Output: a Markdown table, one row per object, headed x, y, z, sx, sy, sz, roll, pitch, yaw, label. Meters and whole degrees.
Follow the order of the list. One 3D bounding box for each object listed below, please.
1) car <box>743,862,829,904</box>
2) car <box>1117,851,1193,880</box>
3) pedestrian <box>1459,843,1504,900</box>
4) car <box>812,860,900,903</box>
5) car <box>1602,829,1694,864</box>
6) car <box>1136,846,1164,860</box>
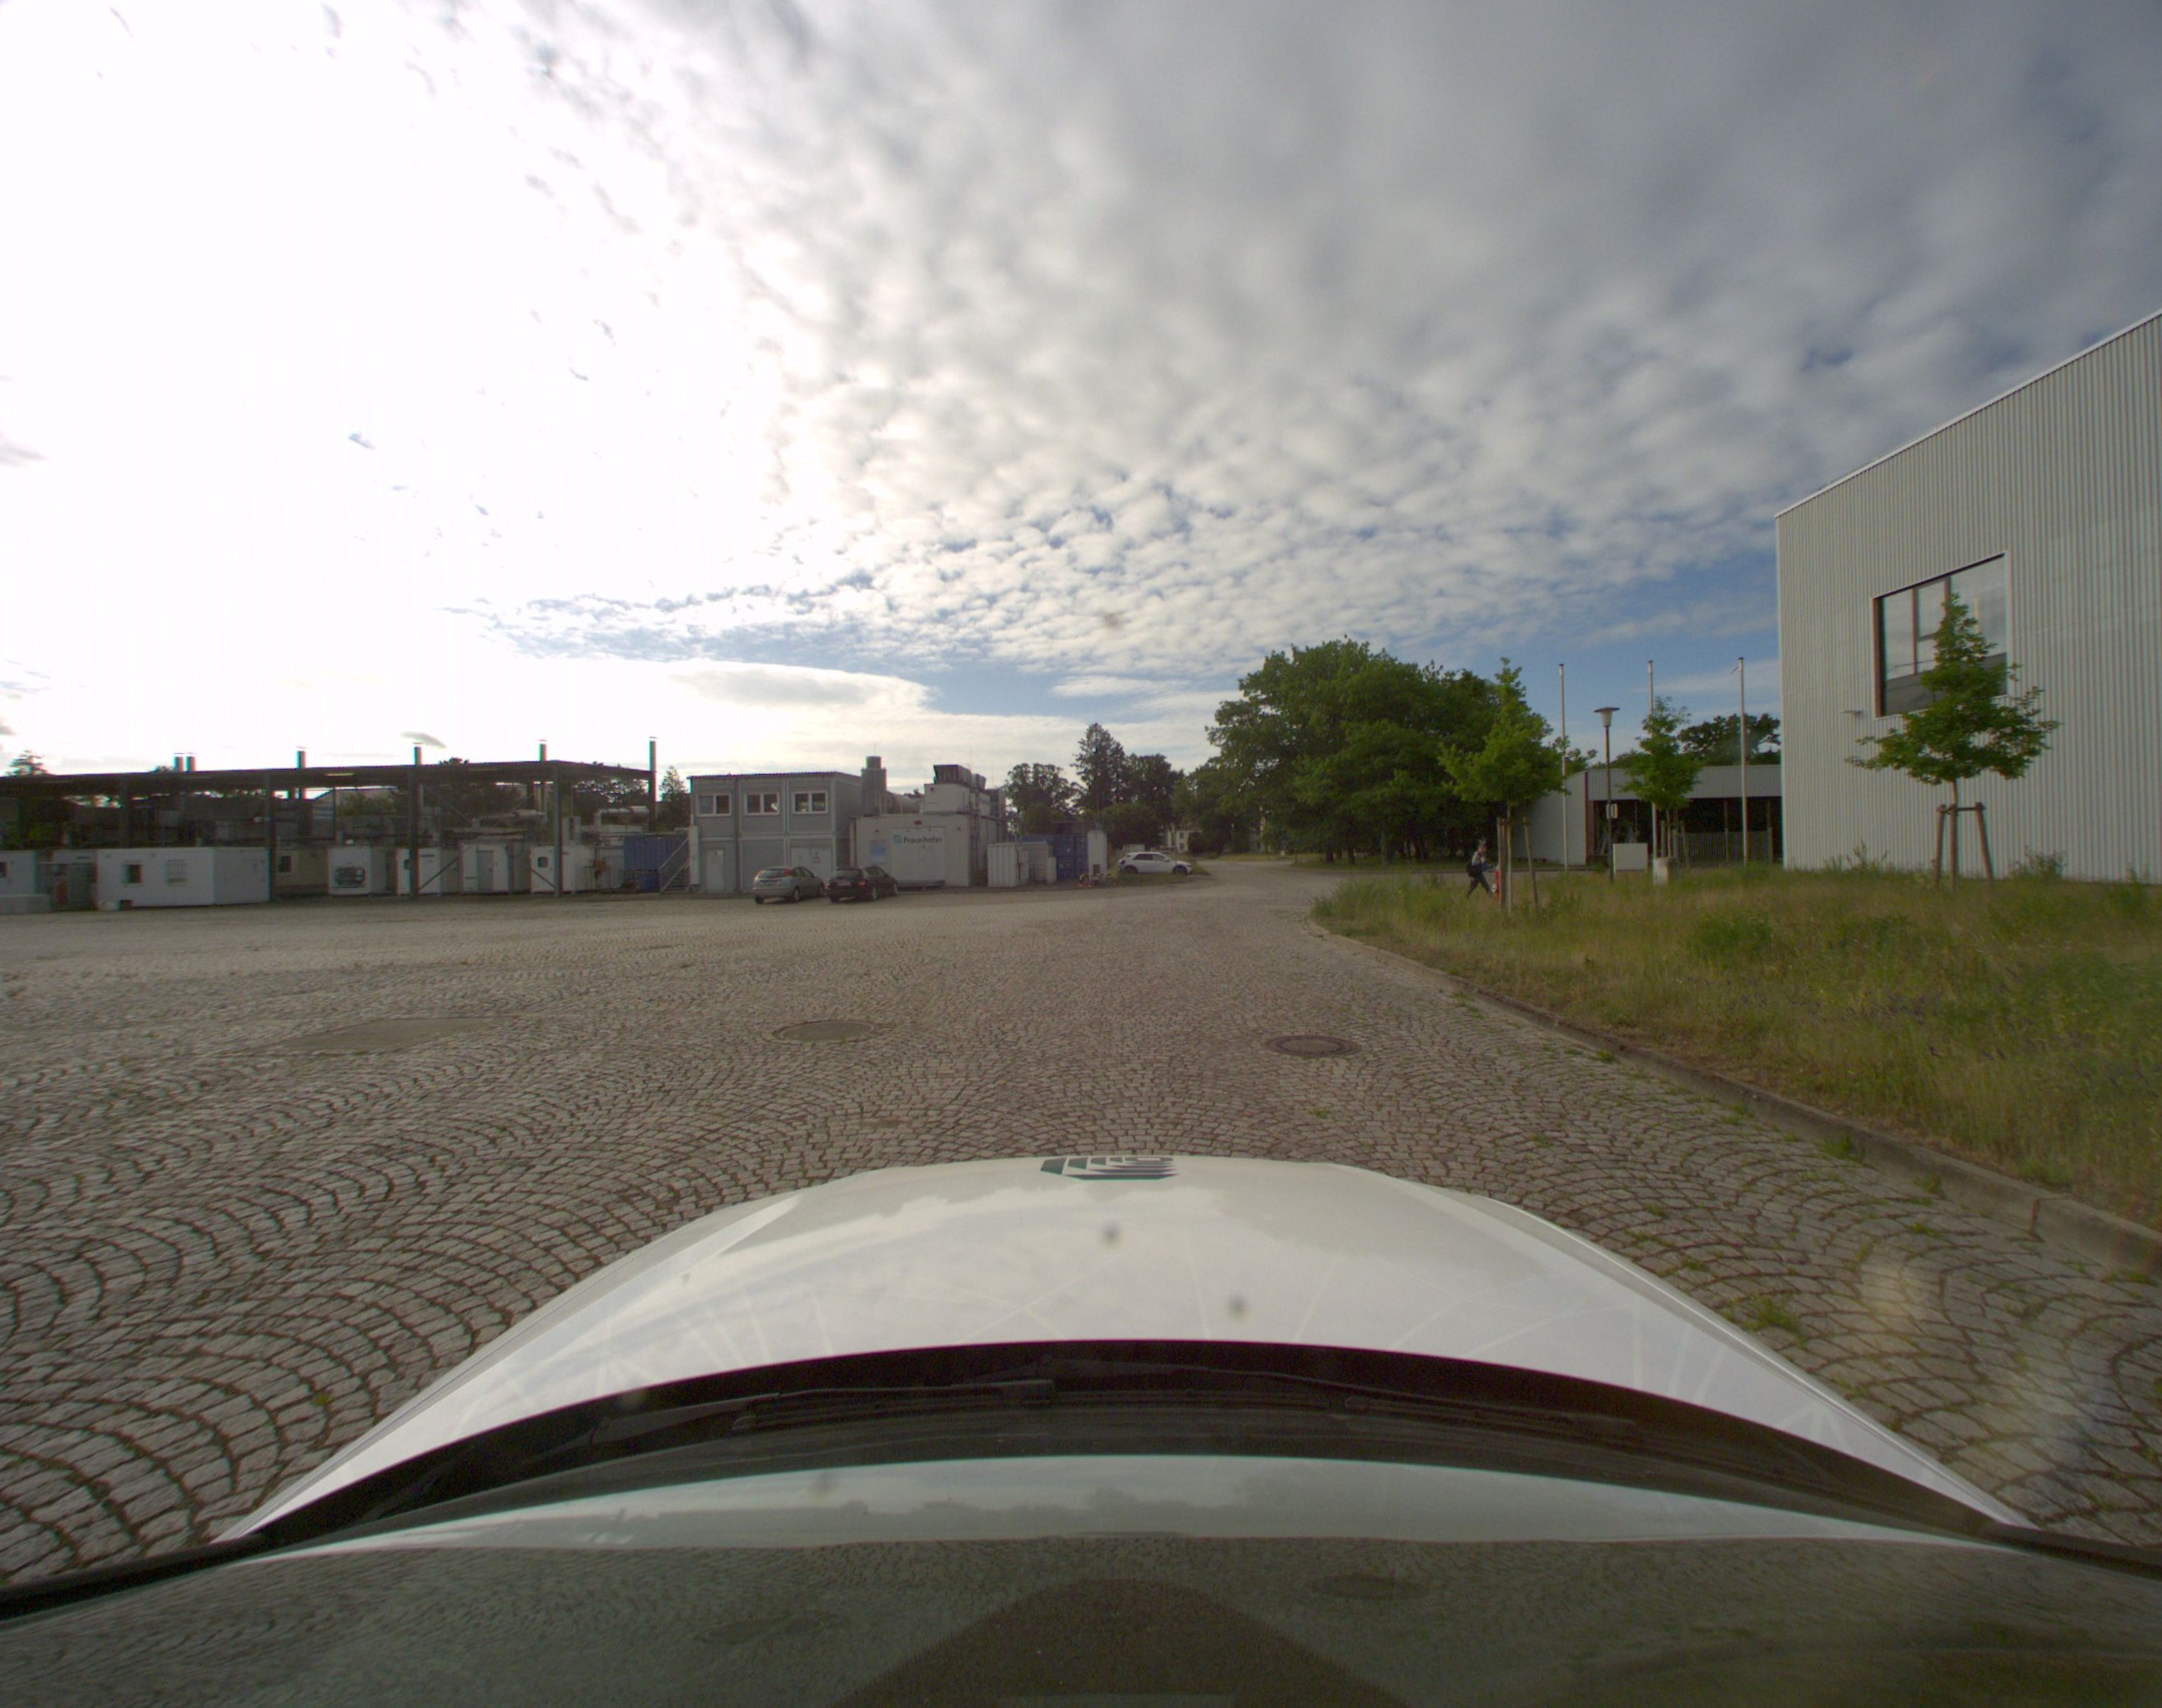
| x | y | z | sx | sy | sz | roll | pitch | yaw | label |
| --- | --- | --- | --- | --- | --- | --- | --- | --- | --- |
| -12.228 | 1.158 | 34.021 | 1.899 | 1.475 | 4.050 | -1 | 1 | 3 | car |
| 4.586 | 0.696 | 49.893 | 4.510 | 1.599 | 2.004 | -1 | 0 | 7 | car |
| 11.306 | 0.485 | 22.975 | 1.065 | 1.556 | 1.081 | -2 | -1 | 28 | pedestrian |
| -9.148 | 1.081 | 33.559 | 2.027 | 1.453 | 4.536 | -1 | 1 | 4 | car |
| 35.054 | -0.449 | 50.592 | 2.232 | 2.013 | 5.341 | -1 | 0 | 3 | car |
| 12.841 | -0.212 | 151.283 | 5.147 | 2.337 | 2.002 | -1 | 0 | 4 | car |
